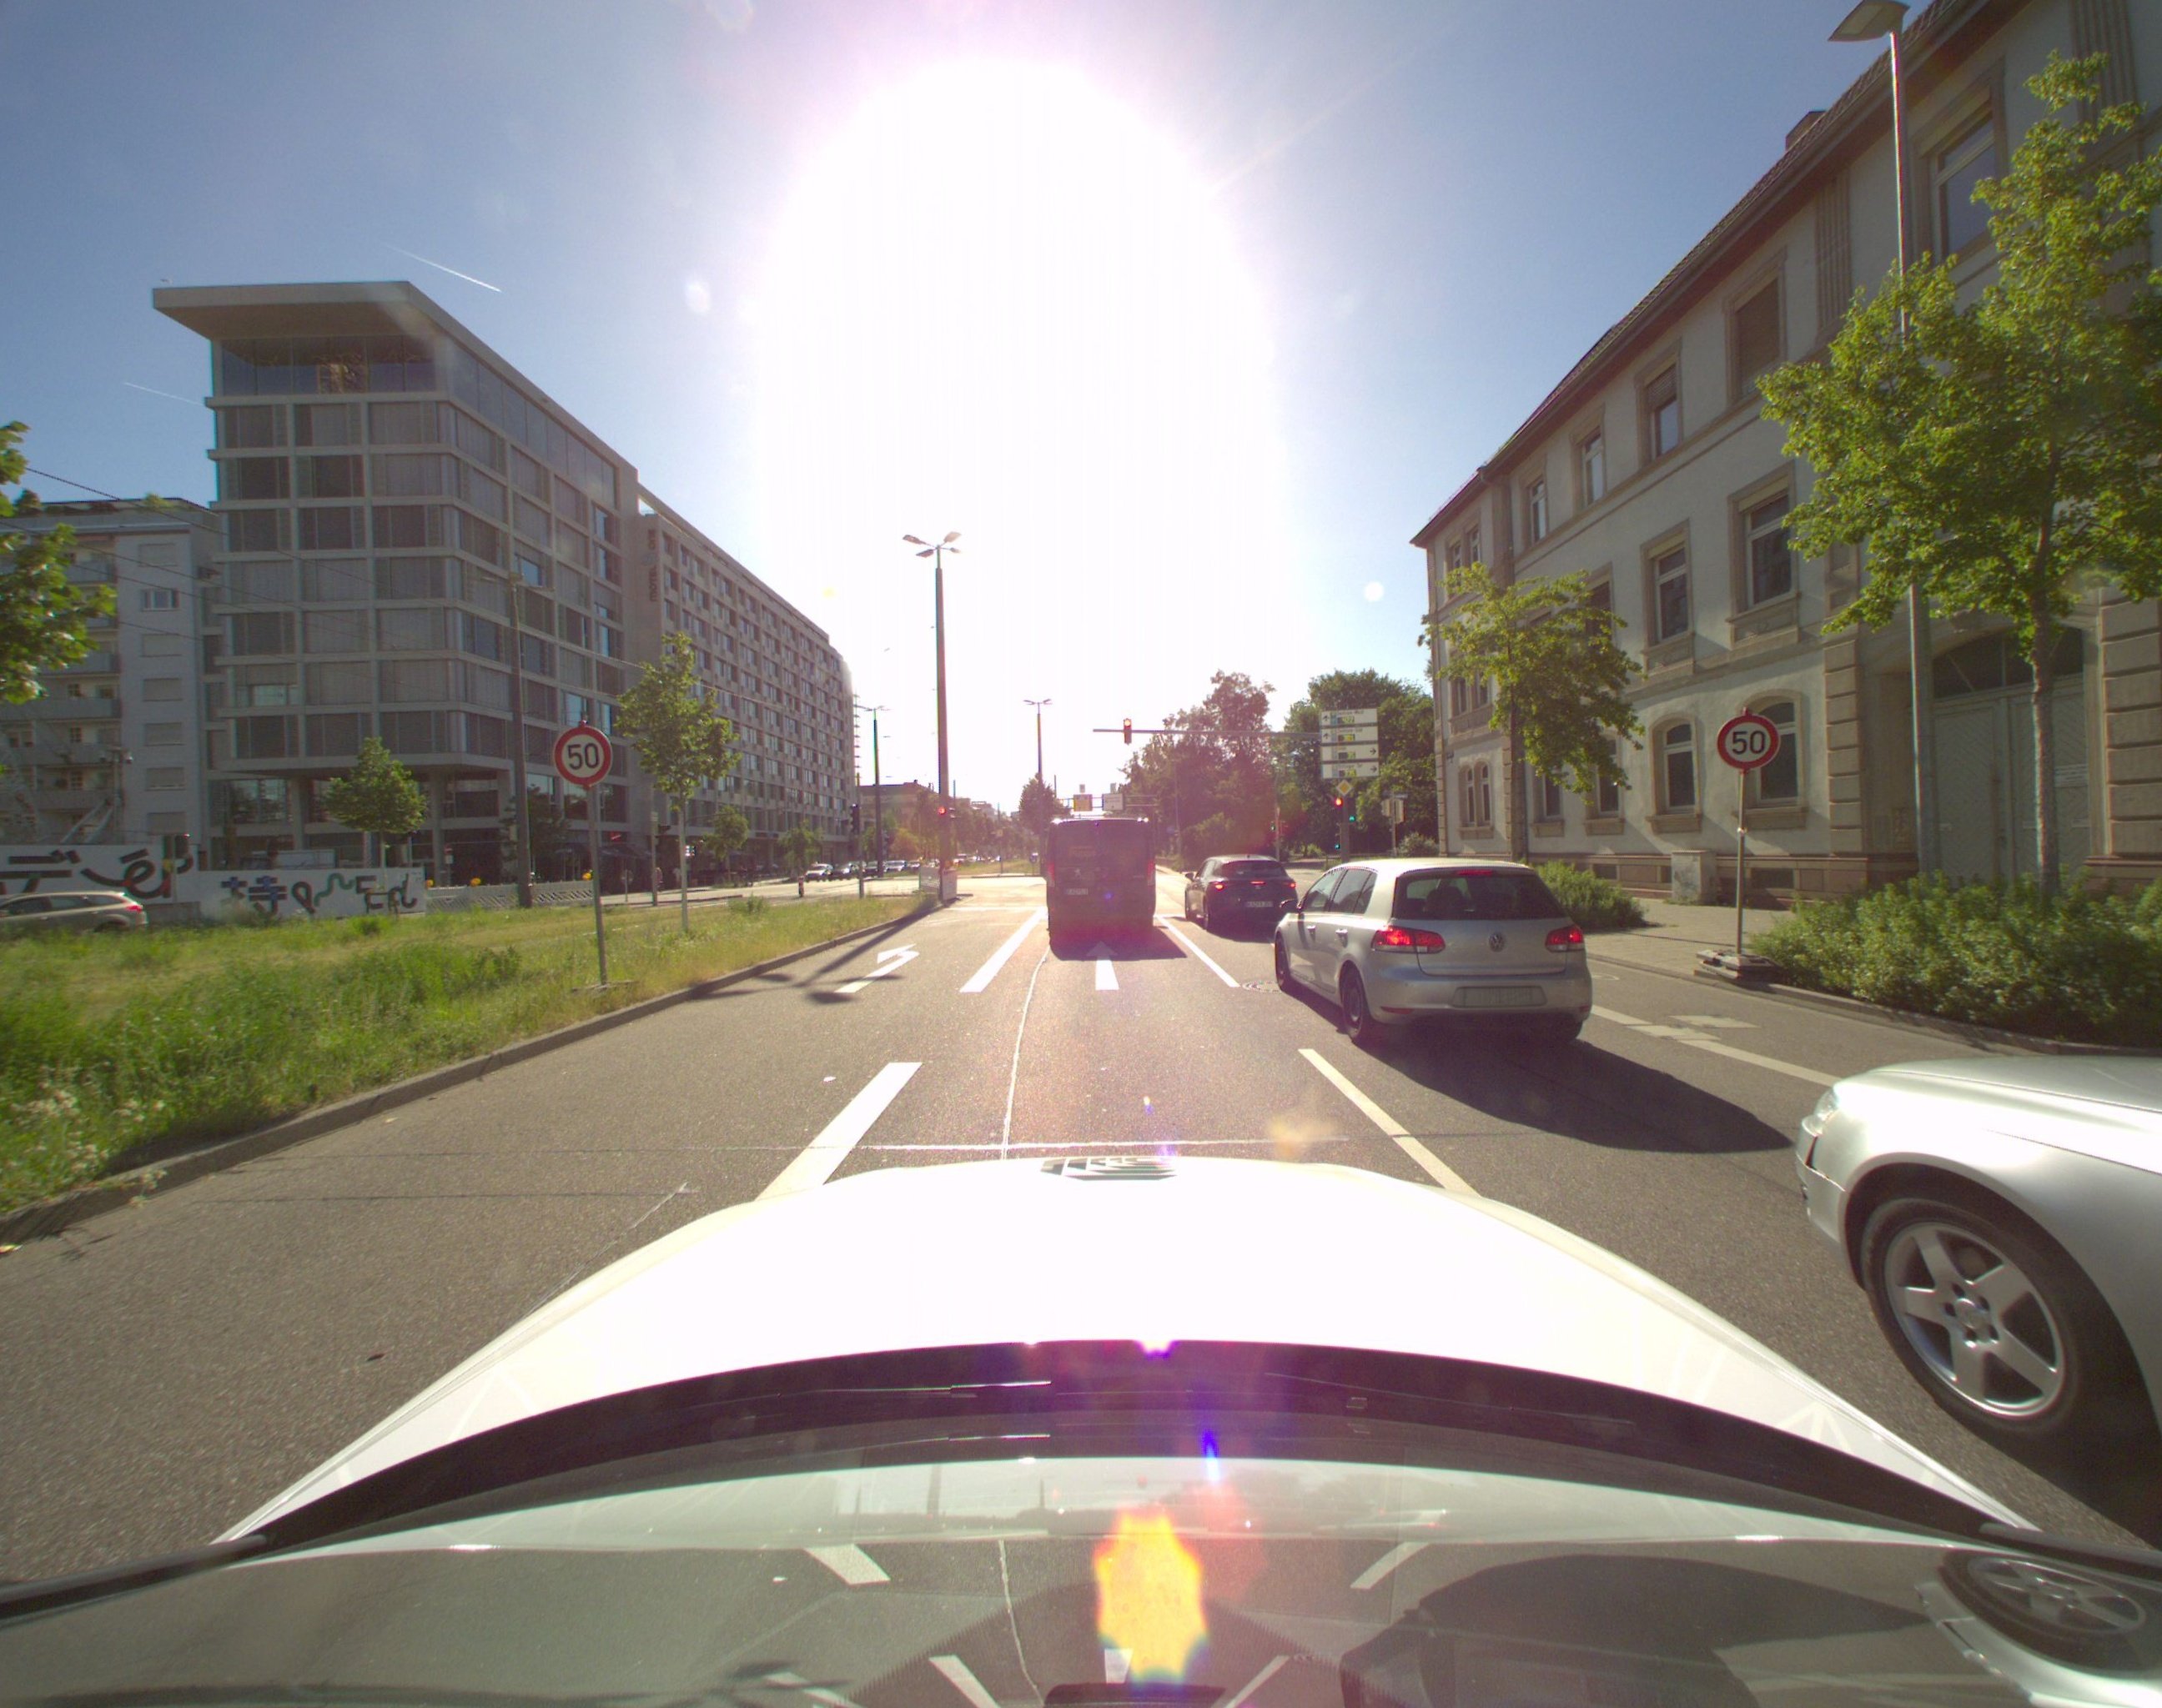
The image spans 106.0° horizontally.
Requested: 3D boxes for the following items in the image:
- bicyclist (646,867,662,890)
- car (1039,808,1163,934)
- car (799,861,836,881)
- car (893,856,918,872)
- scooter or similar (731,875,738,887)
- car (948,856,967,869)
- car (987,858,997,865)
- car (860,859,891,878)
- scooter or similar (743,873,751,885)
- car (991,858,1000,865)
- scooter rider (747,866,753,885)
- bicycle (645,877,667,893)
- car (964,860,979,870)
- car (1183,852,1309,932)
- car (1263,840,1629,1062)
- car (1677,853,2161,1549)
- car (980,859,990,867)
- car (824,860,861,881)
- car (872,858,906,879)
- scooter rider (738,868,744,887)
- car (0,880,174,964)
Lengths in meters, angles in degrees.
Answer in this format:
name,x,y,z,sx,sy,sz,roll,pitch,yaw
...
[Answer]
name,x,y,z,sx,sy,sz,roll,pitch,yaw
bicyclist,-29.719,1.669,56.660,0.590,1.580,0.894,0,-1,5
car,0.369,0.281,17.006,2.211,2.267,4.483,-1,1,0
car,-22.935,1.468,71.086,1.784,1.651,4.002,-2,0,2
car,-19.752,1.128,91.724,1.784,1.651,4.002,-2,0,2
scooter or similar,-26.911,2.098,63.262,0.285,0.947,0.766,-2,0,-6
car,-16.632,1.079,109.740,1.784,1.651,4.002,-2,0,2
car,-21.743,1.813,199.808,1.784,1.651,4.002,-2,0,2
car,-19.408,1.360,77.079,1.784,1.651,4.002,-2,0,2
scooter or similar,-25.945,1.941,63.268,0.227,0.947,0.768,-2,0,2
car,-22.010,1.887,209.680,1.784,1.651,4.002,-2,0,2
scooter rider,-25.725,1.691,63.353,0.341,1.453,0.239,-2,0,1
bicycle,-29.600,2.156,56.711,0.584,1.100,1.625,0,-1,5
car,-18.221,1.811,136.020,1.784,1.651,4.002,-2,0,2
car,3.229,0.689,16.698,1.786,1.428,3.849,-1,0,0
car,2.988,0.666,7.674,1.743,1.527,4.006,-1,0,2
car,3.095,0.744,0.729,1.741,1.427,4.841,-1,0,2
car,-21.540,1.910,182.716,1.784,1.651,4.002,-2,0,2
car,-20.122,1.347,68.831,1.784,1.651,4.002,-2,0,2
car,-16.733,1.248,71.139,1.783,1.651,4.336,-2,0,2
scooter rider,-26.536,1.828,63.601,0.341,1.453,0.239,-2,0,1
car,-25.529,1.642,19.622,1.983,1.792,4.536,-2,0,7
